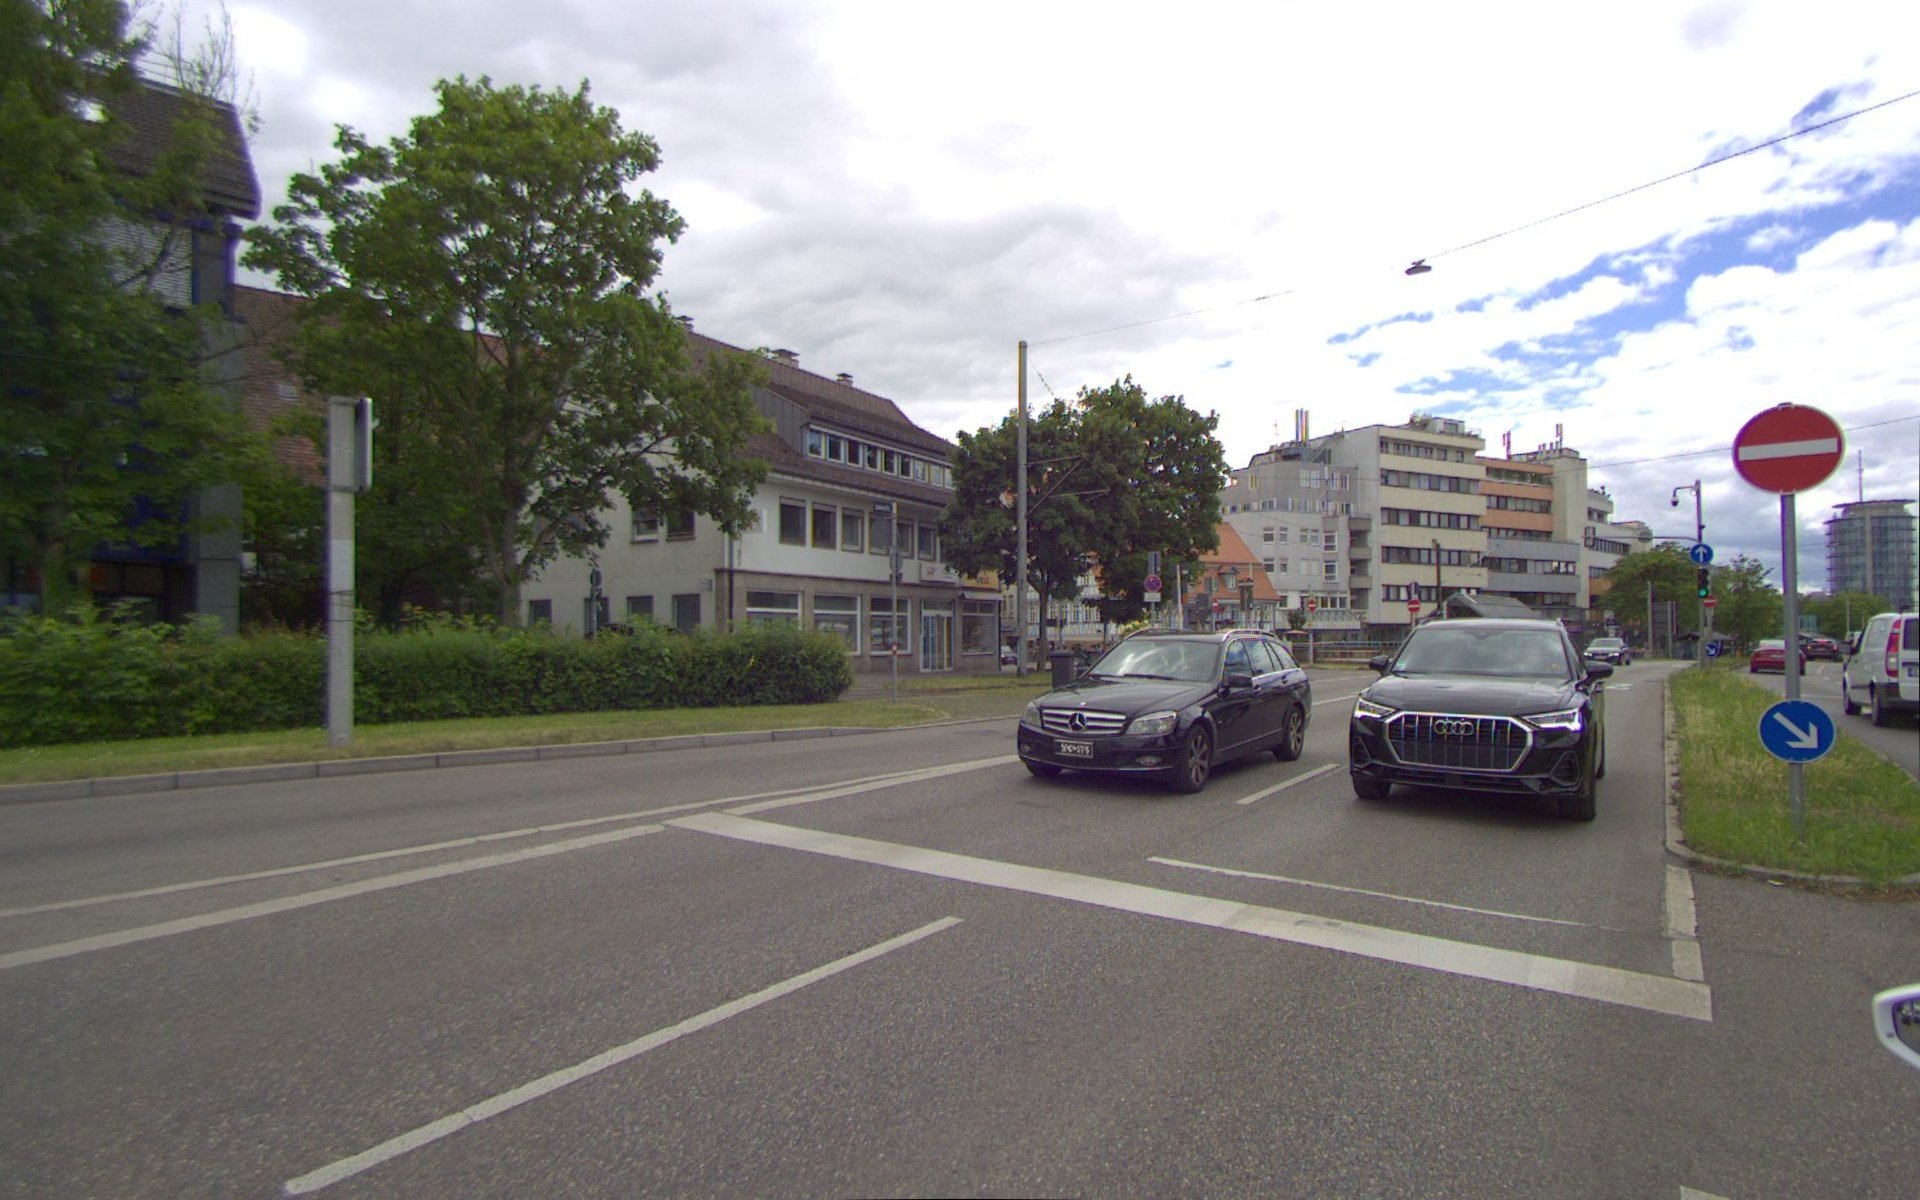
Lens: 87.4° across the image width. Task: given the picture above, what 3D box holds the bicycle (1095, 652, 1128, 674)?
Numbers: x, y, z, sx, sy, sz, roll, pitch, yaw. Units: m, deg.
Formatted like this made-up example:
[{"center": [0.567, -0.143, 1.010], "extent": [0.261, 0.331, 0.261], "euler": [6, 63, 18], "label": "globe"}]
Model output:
[{"center": [5.857, 2.417, 38.832], "extent": [1.243, 0.815, 0.422], "euler": [-2, -3, 40], "label": "bicycle"}]

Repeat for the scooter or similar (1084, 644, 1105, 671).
[{"center": [5.626, 2.386, 41.984], "extent": [0.418, 1.100, 0.987], "euler": [-2, -3, 41], "label": "scooter or similar"}]

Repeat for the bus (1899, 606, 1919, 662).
[{"center": [57.633, 2.038, 59.353], "extent": [2.936, 3.157, 9.189], "euler": [-3, -4, 43], "label": "bus"}]

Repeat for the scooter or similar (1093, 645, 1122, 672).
[{"center": [5.969, 2.363, 40.631], "extent": [1.167, 1.059, 0.485], "euler": [1, 0, -41], "label": "scooter or similar"}]

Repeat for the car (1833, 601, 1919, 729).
[{"center": [16.604, 1.051, 17.356], "extent": [1.877, 1.995, 4.619], "euler": [0, -1, 36], "label": "car"}]

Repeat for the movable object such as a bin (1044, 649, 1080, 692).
[{"center": [2.530, 1.738, 24.882], "extent": [0.556, 1.026, 0.835], "euler": [-1, -2, 37], "label": "movable object such as a bin"}]

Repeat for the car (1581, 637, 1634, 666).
[{"center": [34.998, 2.754, 54.257], "extent": [1.778, 1.474, 4.589], "euler": [-2, -3, 41], "label": "car"}]

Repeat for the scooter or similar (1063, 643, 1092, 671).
[{"center": [4.785, 2.313, 40.928], "extent": [1.168, 1.100, 0.596], "euler": [2, -3, -44], "label": "scooter or similar"}]

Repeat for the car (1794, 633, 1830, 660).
[{"center": [64.035, 3.462, 75.465], "extent": [1.881, 1.884, 4.683], "euler": [0, -1, 42], "label": "car"}]

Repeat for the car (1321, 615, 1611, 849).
[{"center": [4.866, 0.946, 9.292], "extent": [1.863, 1.585, 4.382], "euler": [0, 0, 34], "label": "car"}]

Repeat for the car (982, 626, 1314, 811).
[{"center": [2.197, 1.039, 10.620], "extent": [1.760, 1.445, 4.380], "euler": [0, 0, 36], "label": "car"}]

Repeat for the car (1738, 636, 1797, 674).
[{"center": [35.268, 2.362, 43.961], "extent": [1.849, 1.437, 4.425], "euler": [0, -1, 37], "label": "car"}]

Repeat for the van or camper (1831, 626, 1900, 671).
[{"center": [42.626, 2.250, 47.361], "extent": [1.968, 1.943, 4.392], "euler": [-1, -1, 37], "label": "van or camper"}]

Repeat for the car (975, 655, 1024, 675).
[{"center": [2.770, 4.559, 70.773], "extent": [1.960, 1.312, 3.888], "euler": [1, -3, -24], "label": "car"}]
